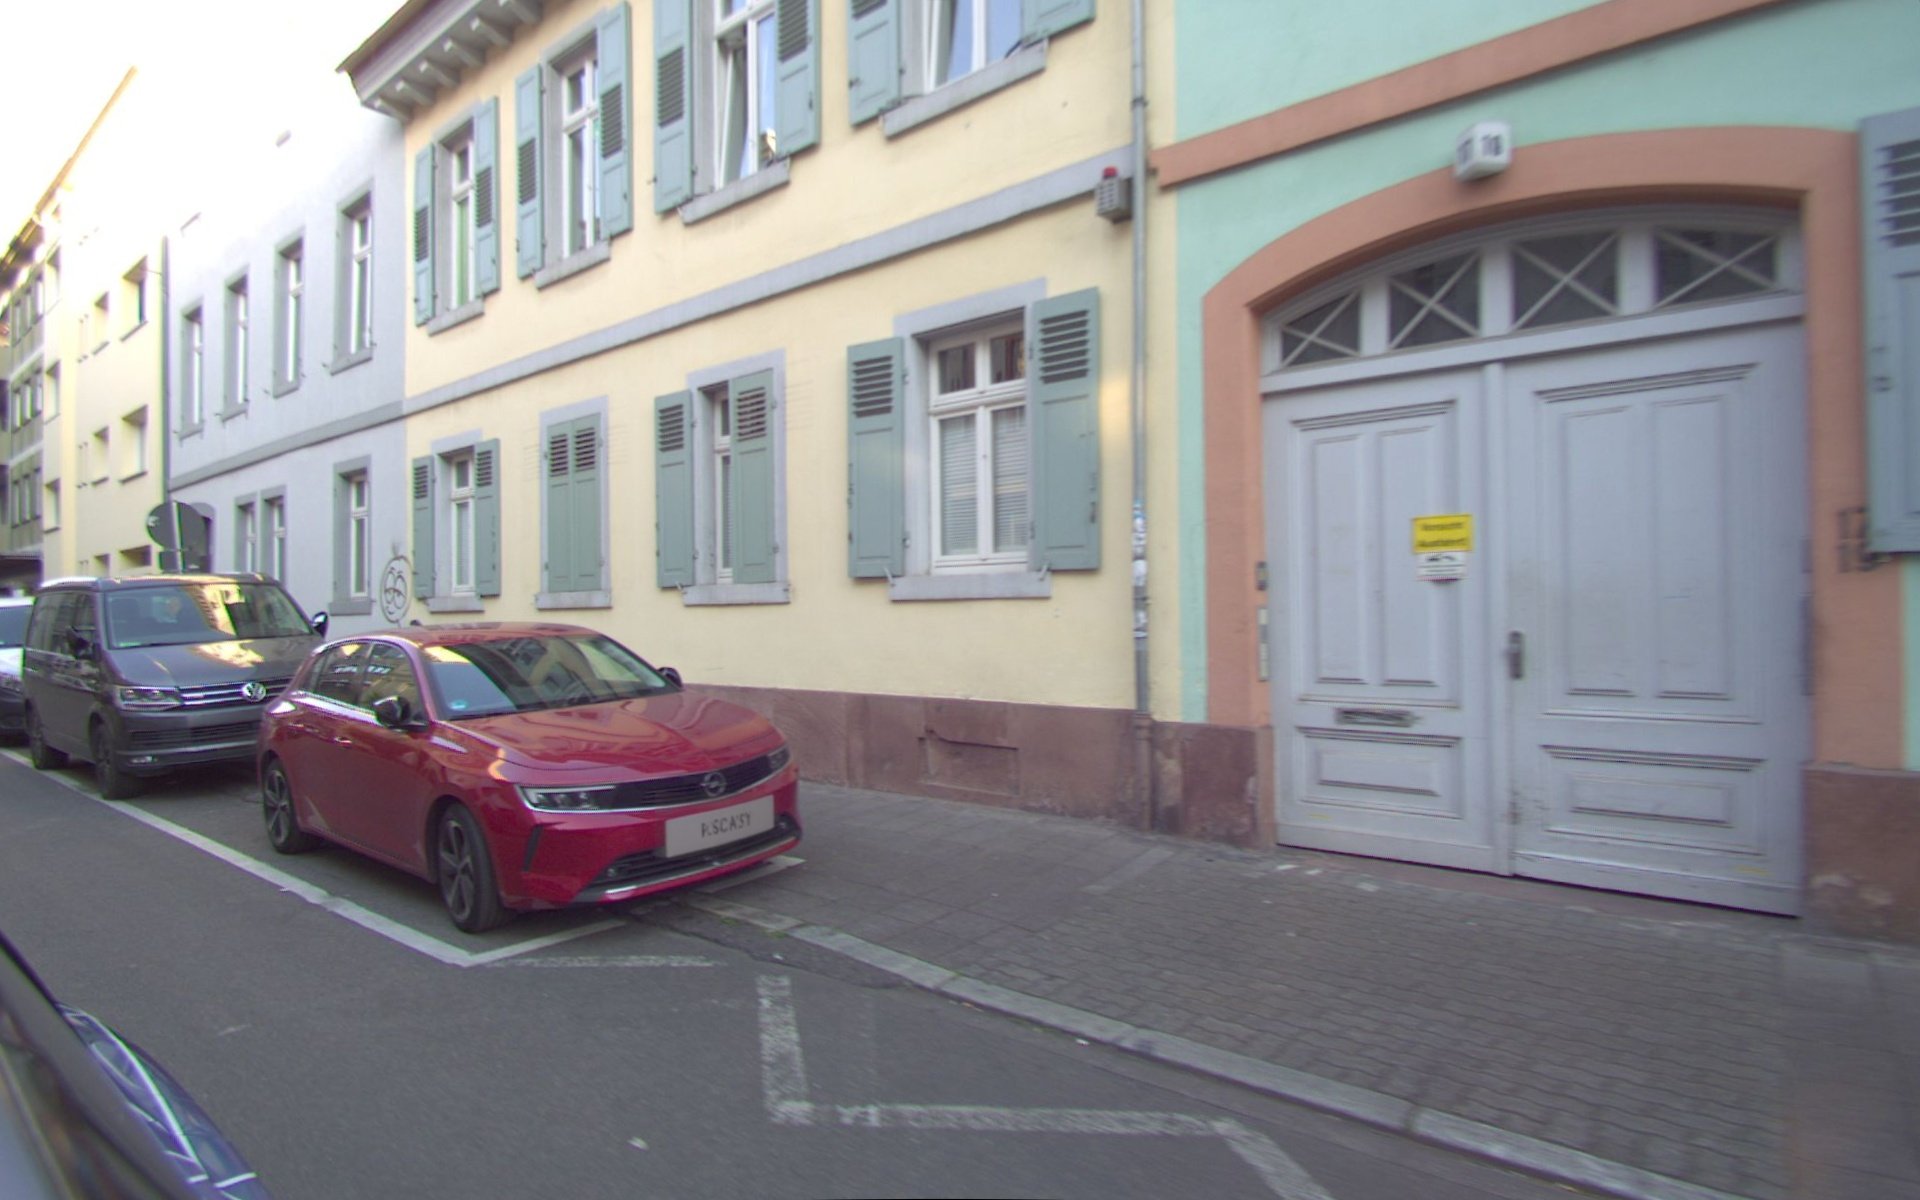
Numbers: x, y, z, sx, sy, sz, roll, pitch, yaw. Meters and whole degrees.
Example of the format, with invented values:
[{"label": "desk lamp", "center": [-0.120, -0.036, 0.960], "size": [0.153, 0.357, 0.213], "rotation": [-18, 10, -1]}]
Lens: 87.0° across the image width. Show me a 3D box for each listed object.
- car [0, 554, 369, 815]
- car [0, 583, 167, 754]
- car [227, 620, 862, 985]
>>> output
[{"label": "car", "center": [-7.905, 0.712, 10.104], "size": [4.807, 2.029, 1.845], "rotation": [-1, -2, 38]}, {"label": "car", "center": [-12.993, 0.872, 14.155], "size": [5.099, 2.029, 1.845], "rotation": [-1, -2, 38]}, {"label": "car", "center": [-2.708, 0.848, 6.060], "size": [4.259, 1.412, 1.747], "rotation": [-1, -1, 40]}]
